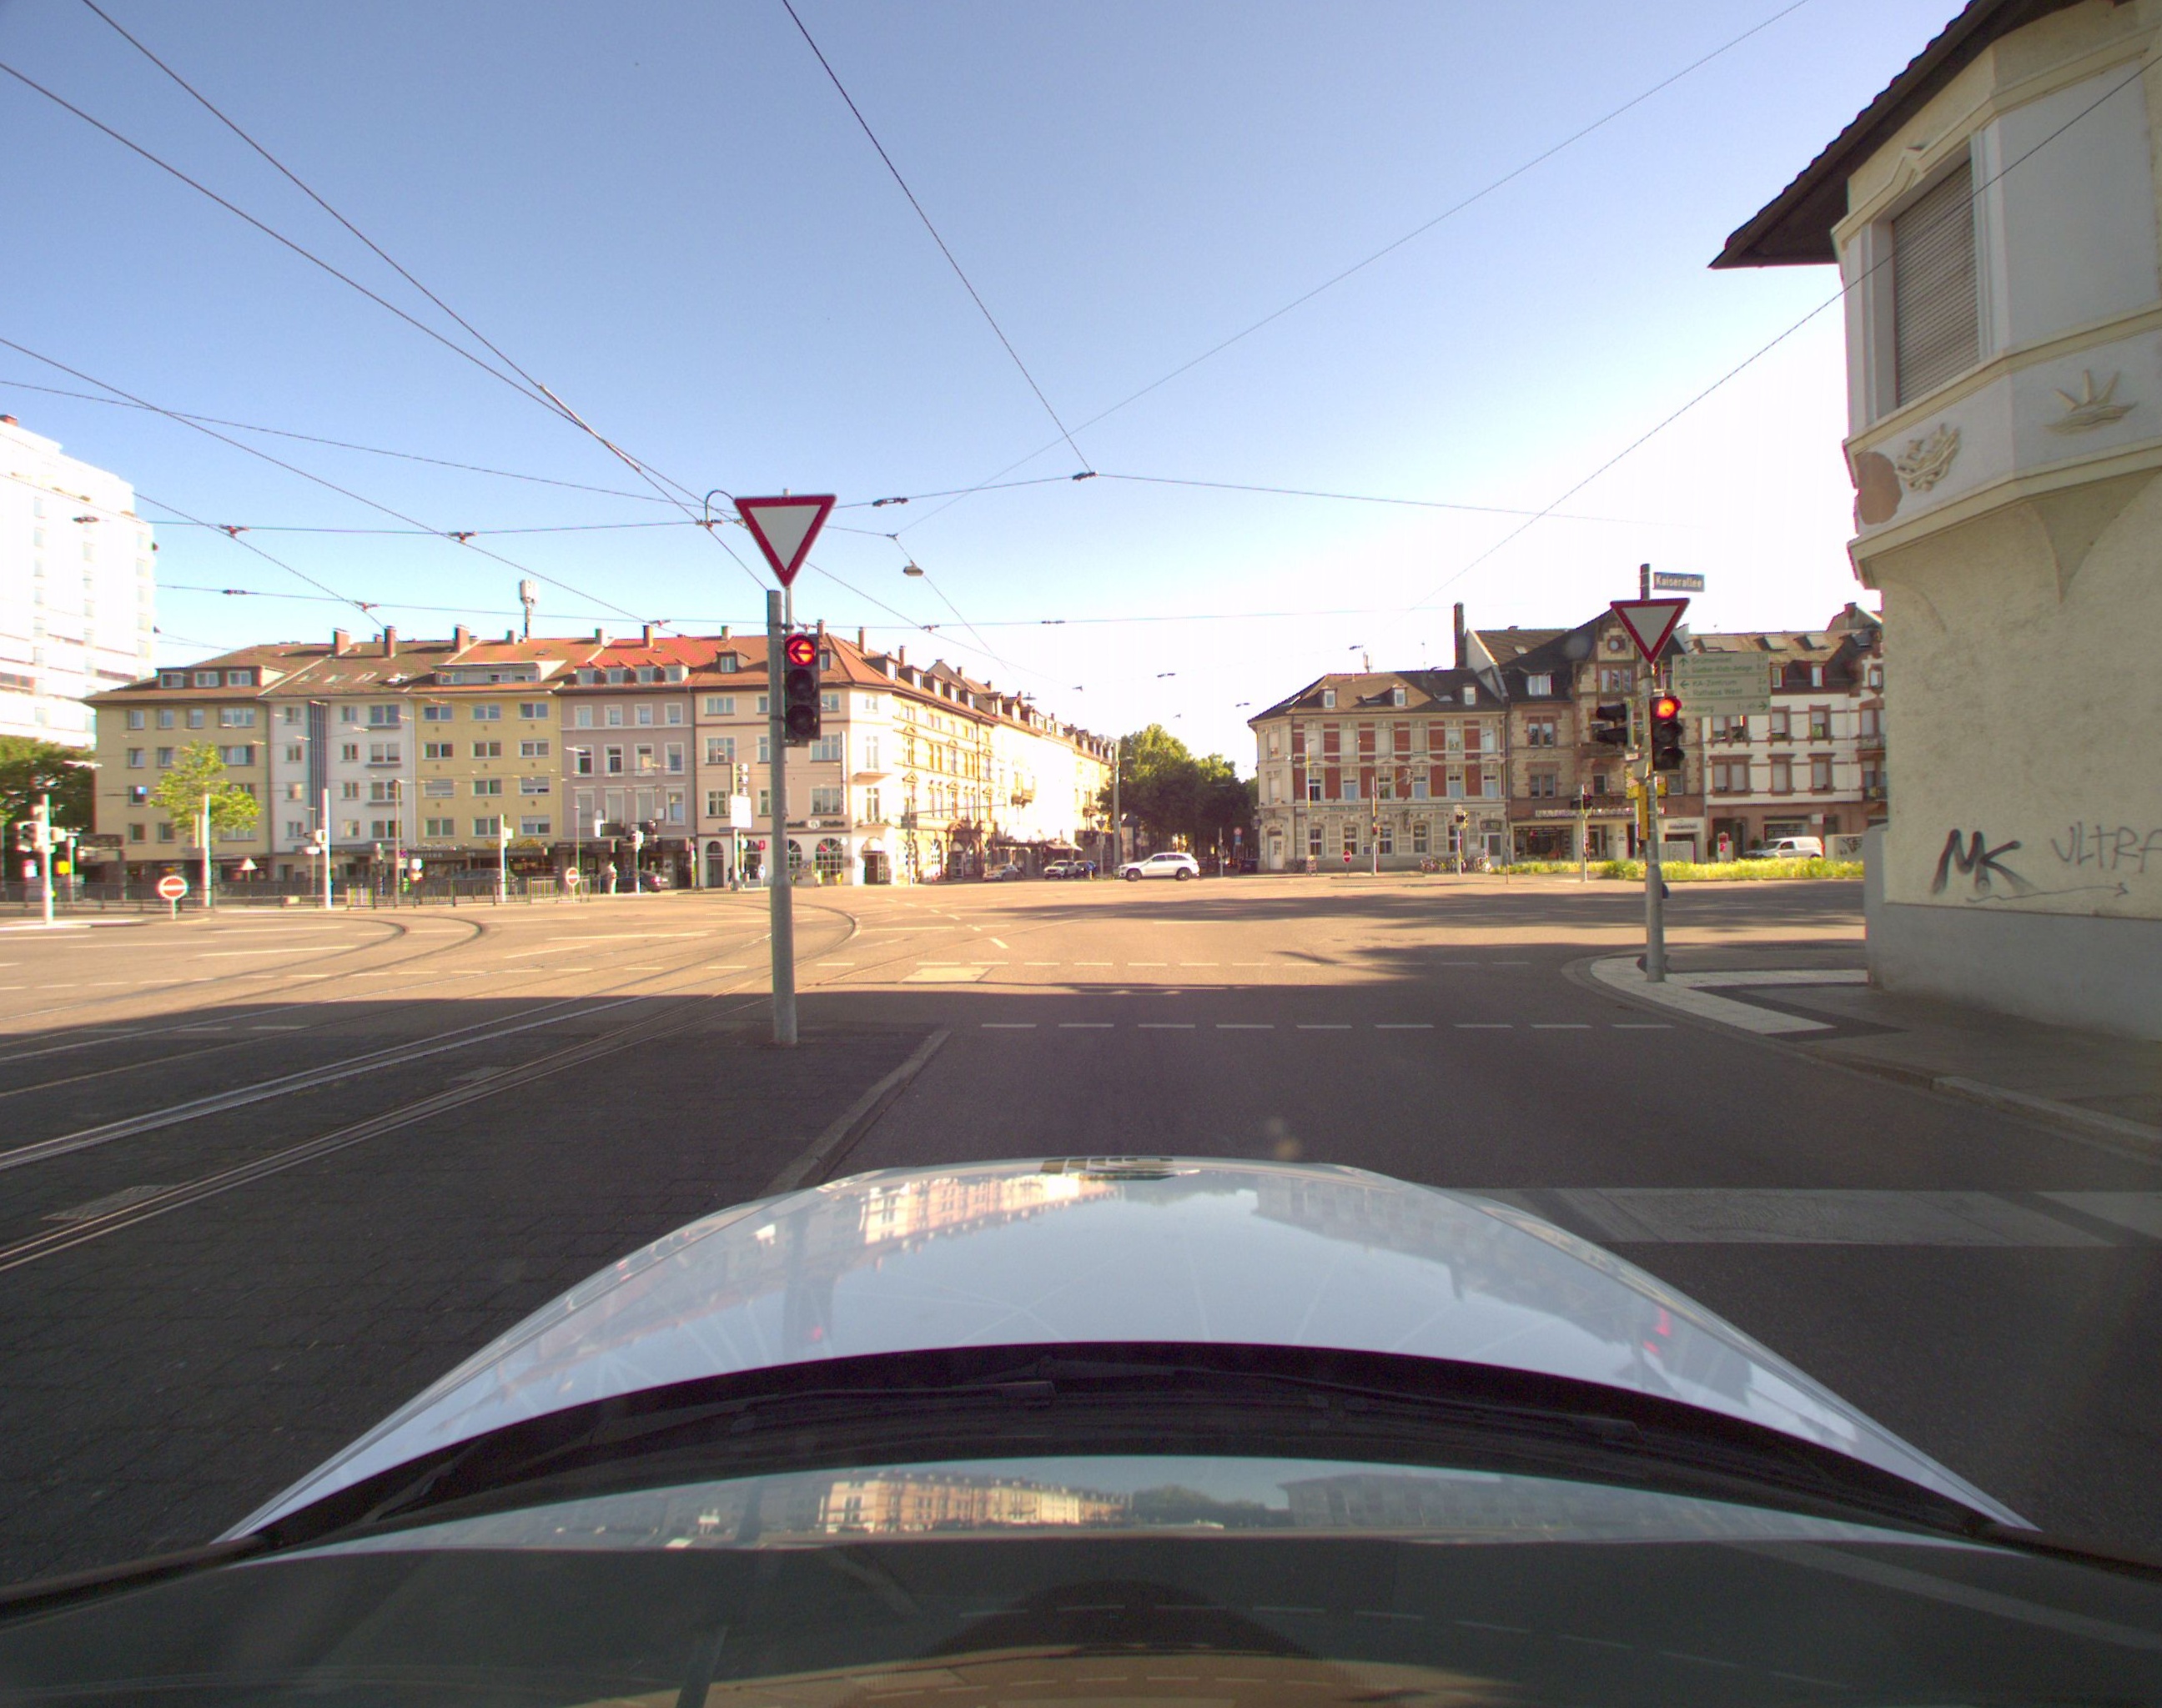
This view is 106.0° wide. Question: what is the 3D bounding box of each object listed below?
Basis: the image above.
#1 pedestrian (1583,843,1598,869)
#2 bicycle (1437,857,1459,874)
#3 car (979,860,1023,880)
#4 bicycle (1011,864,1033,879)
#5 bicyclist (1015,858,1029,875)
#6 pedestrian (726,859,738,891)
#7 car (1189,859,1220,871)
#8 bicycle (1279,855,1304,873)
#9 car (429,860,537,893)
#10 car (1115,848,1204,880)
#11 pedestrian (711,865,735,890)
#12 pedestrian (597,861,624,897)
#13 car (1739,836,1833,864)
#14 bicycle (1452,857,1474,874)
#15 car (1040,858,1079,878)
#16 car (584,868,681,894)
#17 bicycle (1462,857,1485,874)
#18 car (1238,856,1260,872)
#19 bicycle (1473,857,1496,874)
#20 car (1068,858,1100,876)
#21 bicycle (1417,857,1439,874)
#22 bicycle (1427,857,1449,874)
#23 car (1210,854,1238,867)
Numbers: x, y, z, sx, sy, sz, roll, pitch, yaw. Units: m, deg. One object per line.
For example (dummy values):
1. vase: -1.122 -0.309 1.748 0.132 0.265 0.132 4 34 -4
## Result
1. pedestrian: 34.709 0.135 55.487 0.705 1.751 0.421 -1 0 3
2. bicycle: 23.815 0.730 52.863 0.603 1.051 1.641 -1 0 -3
3. car: -6.595 1.306 67.695 2.080 1.545 4.382 -2 0 16
4. bicycle: -4.766 1.432 65.895 0.745 1.135 2.821 -1 0 16
5. bicyclist: -4.763 0.988 65.866 0.787 1.375 1.113 -1 0 16
6. pedestrian: -22.776 1.360 53.118 0.506 2.013 0.505 -1 0 5
7. car: 17.492 1.527 114.987 4.078 1.646 1.754 1 0 17
8. bicycle: 14.698 0.691 56.933 1.625 1.222 0.609 -1 0 18
9. car: -33.271 1.229 45.406 4.494 1.672 2.000 -1 0 1
10. car: 4.448 0.579 46.800 4.838 1.660 1.997 -1 0 -4
11. pedestrian: -24.183 1.588 55.008 1.060 1.591 1.043 -1 0 4
12. pedestrian: -24.569 1.313 42.552 0.871 1.818 0.811 -1 0 2
13. car: 45.386 -0.233 52.464 4.356 1.654 1.999 -1 0 -2
14. bicycle: 24.642 0.722 52.563 0.603 1.051 1.641 -1 0 -3
15. car: -1.727 1.164 67.364 2.080 1.499 4.017 -2 0 16
16. car: -26.179 1.567 47.673 4.496 1.341 2.000 -1 0 0
17. bicycle: 25.317 0.717 52.612 0.603 1.051 1.641 -1 0 -3
18. car: 16.909 0.992 82.045 1.637 1.524 3.772 -2 -1 20
19. bicycle: 26.055 0.711 52.605 0.603 1.051 1.641 -1 0 -3
20. car: 0.295 1.153 73.687 1.979 1.513 4.015 -1 0 14
21. bicycle: 22.498 0.740 52.833 0.603 1.051 1.641 -1 0 -3
22. bicycle: 23.151 0.735 52.863 0.603 1.051 1.641 -1 0 -3
23. car: 23.380 1.088 133.065 4.074 1.919 1.756 1 0 23
